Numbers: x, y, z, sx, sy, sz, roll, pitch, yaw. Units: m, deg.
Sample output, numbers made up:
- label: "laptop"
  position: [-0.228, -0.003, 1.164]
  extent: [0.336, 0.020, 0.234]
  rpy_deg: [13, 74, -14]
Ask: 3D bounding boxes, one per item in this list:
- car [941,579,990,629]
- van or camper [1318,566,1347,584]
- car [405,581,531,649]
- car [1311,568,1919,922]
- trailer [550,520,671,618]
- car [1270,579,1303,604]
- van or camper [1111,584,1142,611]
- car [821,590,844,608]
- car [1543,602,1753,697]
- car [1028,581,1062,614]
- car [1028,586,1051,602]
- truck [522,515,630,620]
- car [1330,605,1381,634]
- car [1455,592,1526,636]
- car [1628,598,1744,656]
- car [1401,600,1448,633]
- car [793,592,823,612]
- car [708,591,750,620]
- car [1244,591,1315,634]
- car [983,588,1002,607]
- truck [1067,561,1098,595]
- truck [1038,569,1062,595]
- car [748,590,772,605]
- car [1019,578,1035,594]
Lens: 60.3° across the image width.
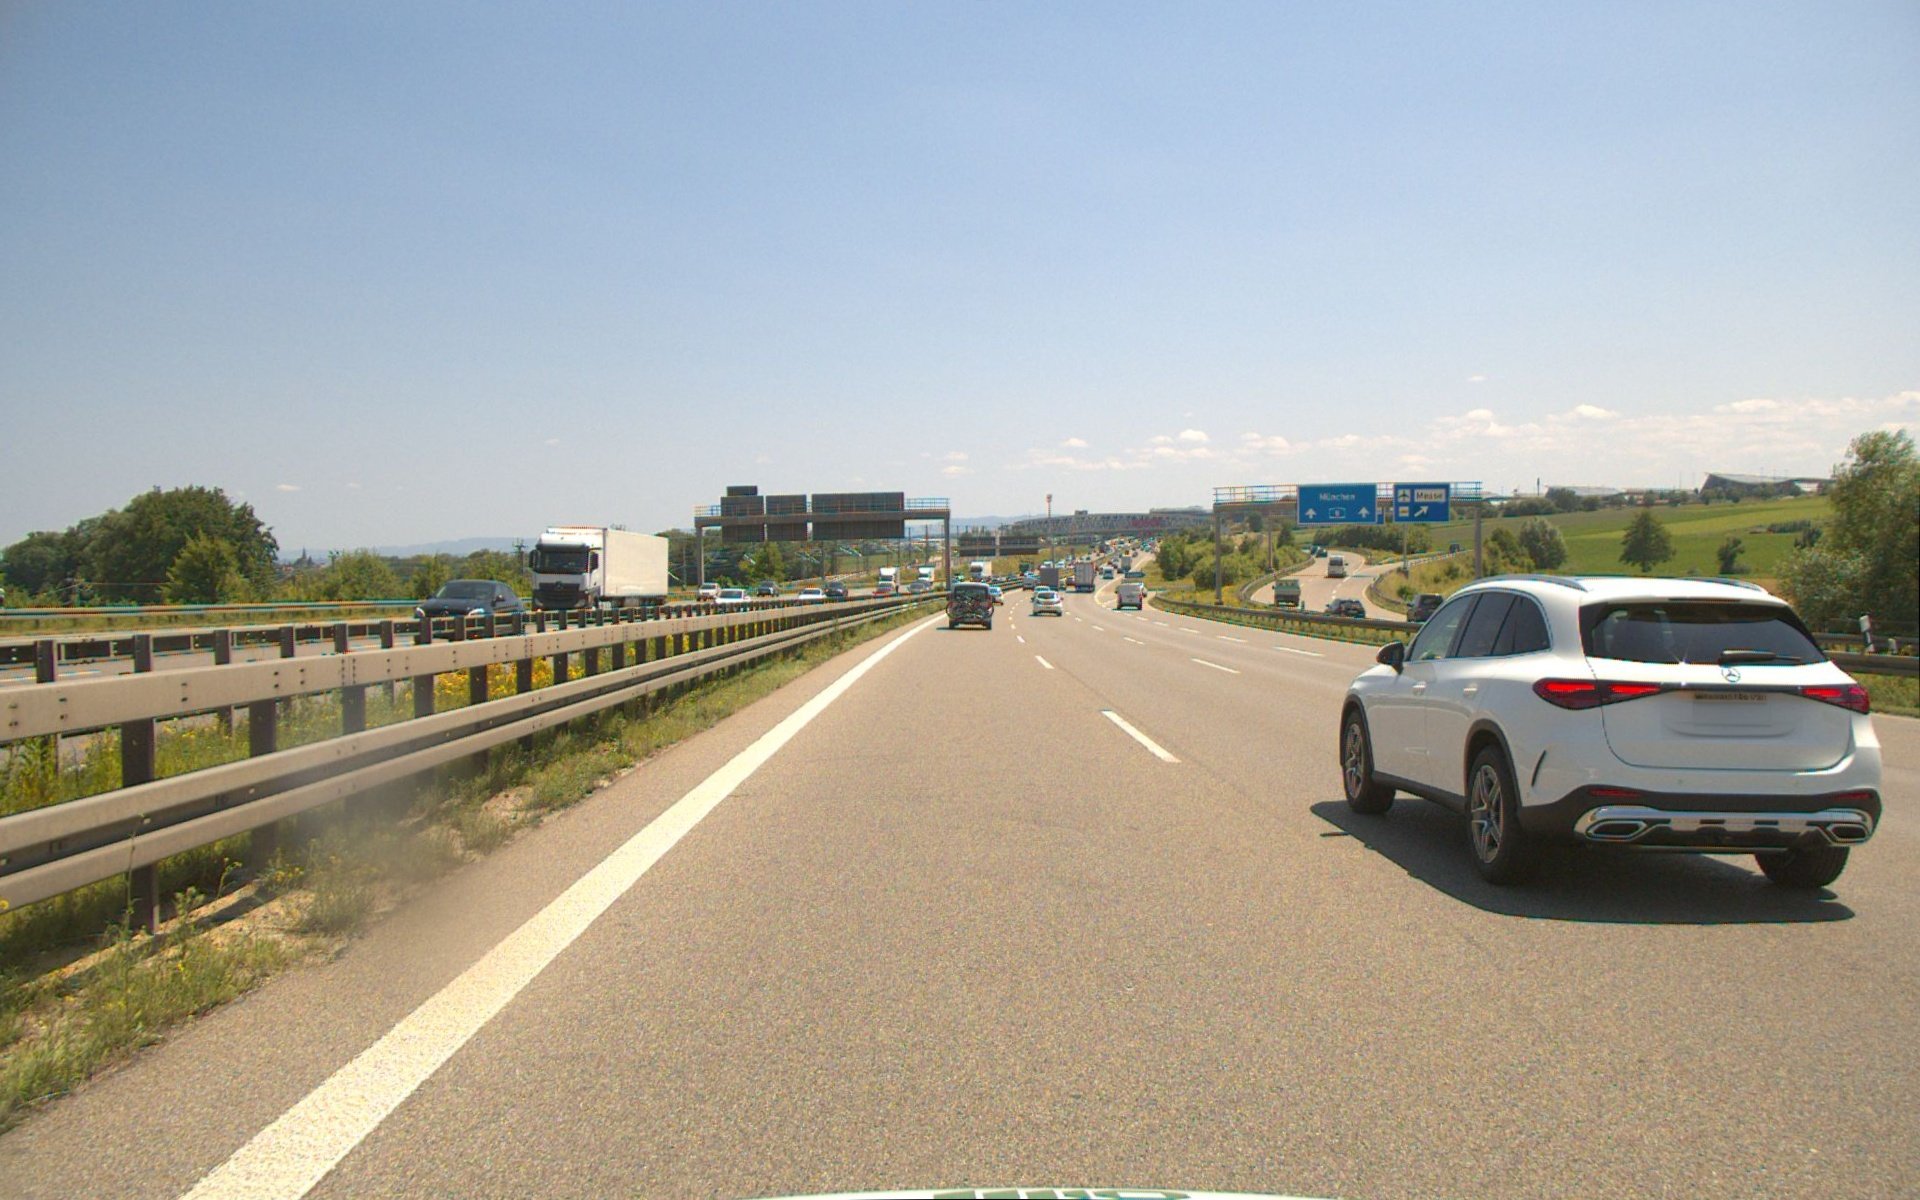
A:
- label: "car"
  position: [0.221, 0.158, 66.790]
  extent: [1.887, 1.952, 4.948]
  rpy_deg: [1, 0, 0]
- label: "van or camper"
  position: [44.997, -3.000, 200.065]
  extent: [2.477, 2.049, 4.460]
  rpy_deg: [1, 0, 0]
- label: "car"
  position: [-13.051, 0.371, 44.187]
  extent: [1.953, 1.673, 4.663]
  rpy_deg: [1, 0, 0]
- label: "car"
  position: [3.720, 0.697, 10.410]
  extent: [1.860, 1.676, 4.997]
  rpy_deg: [1, 0, -1]
- label: "trailer"
  position: [-16.501, -1.408, 79.208]
  extent: [2.972, 4.314, 12.249]
  rpy_deg: [1, 0, 1]
- label: "car"
  position: [26.757, -0.674, 135.594]
  extent: [1.952, 2.049, 4.000]
  rpy_deg: [1, 0, 1]
- label: "van or camper"
  position: [12.914, -0.183, 128.483]
  extent: [2.111, 2.049, 4.306]
  rpy_deg: [1, 0, 3]
- label: "car"
  position: [-12.674, -0.121, 165.120]
  extent: [1.809, 1.684, 4.911]
  rpy_deg: [1, 0, 1]
- label: "car"
  position: [11.603, 0.781, 28.262]
  extent: [1.748, 1.462, 4.848]
  rpy_deg: [1, 0, 3]
- label: "car"
  position: [5.085, -0.143, 98.918]
  extent: [1.887, 1.952, 4.518]
  rpy_deg: [1, 0, 1]
- label: "car"
  position: [7.530, -0.555, 156.453]
  extent: [1.940, 1.499, 4.003]
  rpy_deg: [0, 0, 5]
- label: "truck"
  position: [-16.600, -1.355, 71.982]
  extent: [2.972, 4.314, 6.685]
  rpy_deg: [1, 0, 1]
- label: "car"
  position: [22.593, 1.097, 94.694]
  extent: [1.953, 1.624, 4.000]
  rpy_deg: [1, 0, 0]
- label: "car"
  position: [24.182, 0.629, 75.539]
  extent: [1.899, 1.957, 4.179]
  rpy_deg: [1, 0, 0]
- label: "car"
  position: [21.308, 0.765, 48.709]
  extent: [1.664, 1.602, 4.129]
  rpy_deg: [1, 0, 1]
- label: "car"
  position: [27.977, 0.974, 99.741]
  extent: [1.898, 1.957, 4.181]
  rpy_deg: [1, 0, 3]
- label: "car"
  position: [-11.295, 0.143, 123.192]
  extent: [1.623, 1.428, 4.760]
  rpy_deg: [1, 0, 1]
- label: "car"
  position: [-12.454, 0.298, 89.285]
  extent: [1.705, 1.515, 4.007]
  rpy_deg: [1, 0, 0]
- label: "car"
  position: [13.362, 0.513, 69.439]
  extent: [1.954, 1.720, 3.997]
  rpy_deg: [1, 0, -4]
- label: "car"
  position: [2.722, -0.222, 138.224]
  extent: [1.543, 1.579, 3.965]
  rpy_deg: [1, 0, 2]
- label: "truck"
  position: [16.968, -3.093, 228.843]
  extent: [3.954, 4.335, 11.768]
  rpy_deg: [1, 3, 5]
- label: "truck"
  position: [11.557, -2.268, 212.210]
  extent: [2.645, 3.163, 10.666]
  rpy_deg: [1, 0, 6]
- label: "car"
  position: [-20.570, -0.247, 170.113]
  extent: [1.809, 1.558, 4.224]
  rpy_deg: [1, 0, 1]
- label: "car"
  position: [9.608, -1.982, 236.085]
  extent: [2.140, 2.037, 4.004]
  rpy_deg: [1, 3, 4]
